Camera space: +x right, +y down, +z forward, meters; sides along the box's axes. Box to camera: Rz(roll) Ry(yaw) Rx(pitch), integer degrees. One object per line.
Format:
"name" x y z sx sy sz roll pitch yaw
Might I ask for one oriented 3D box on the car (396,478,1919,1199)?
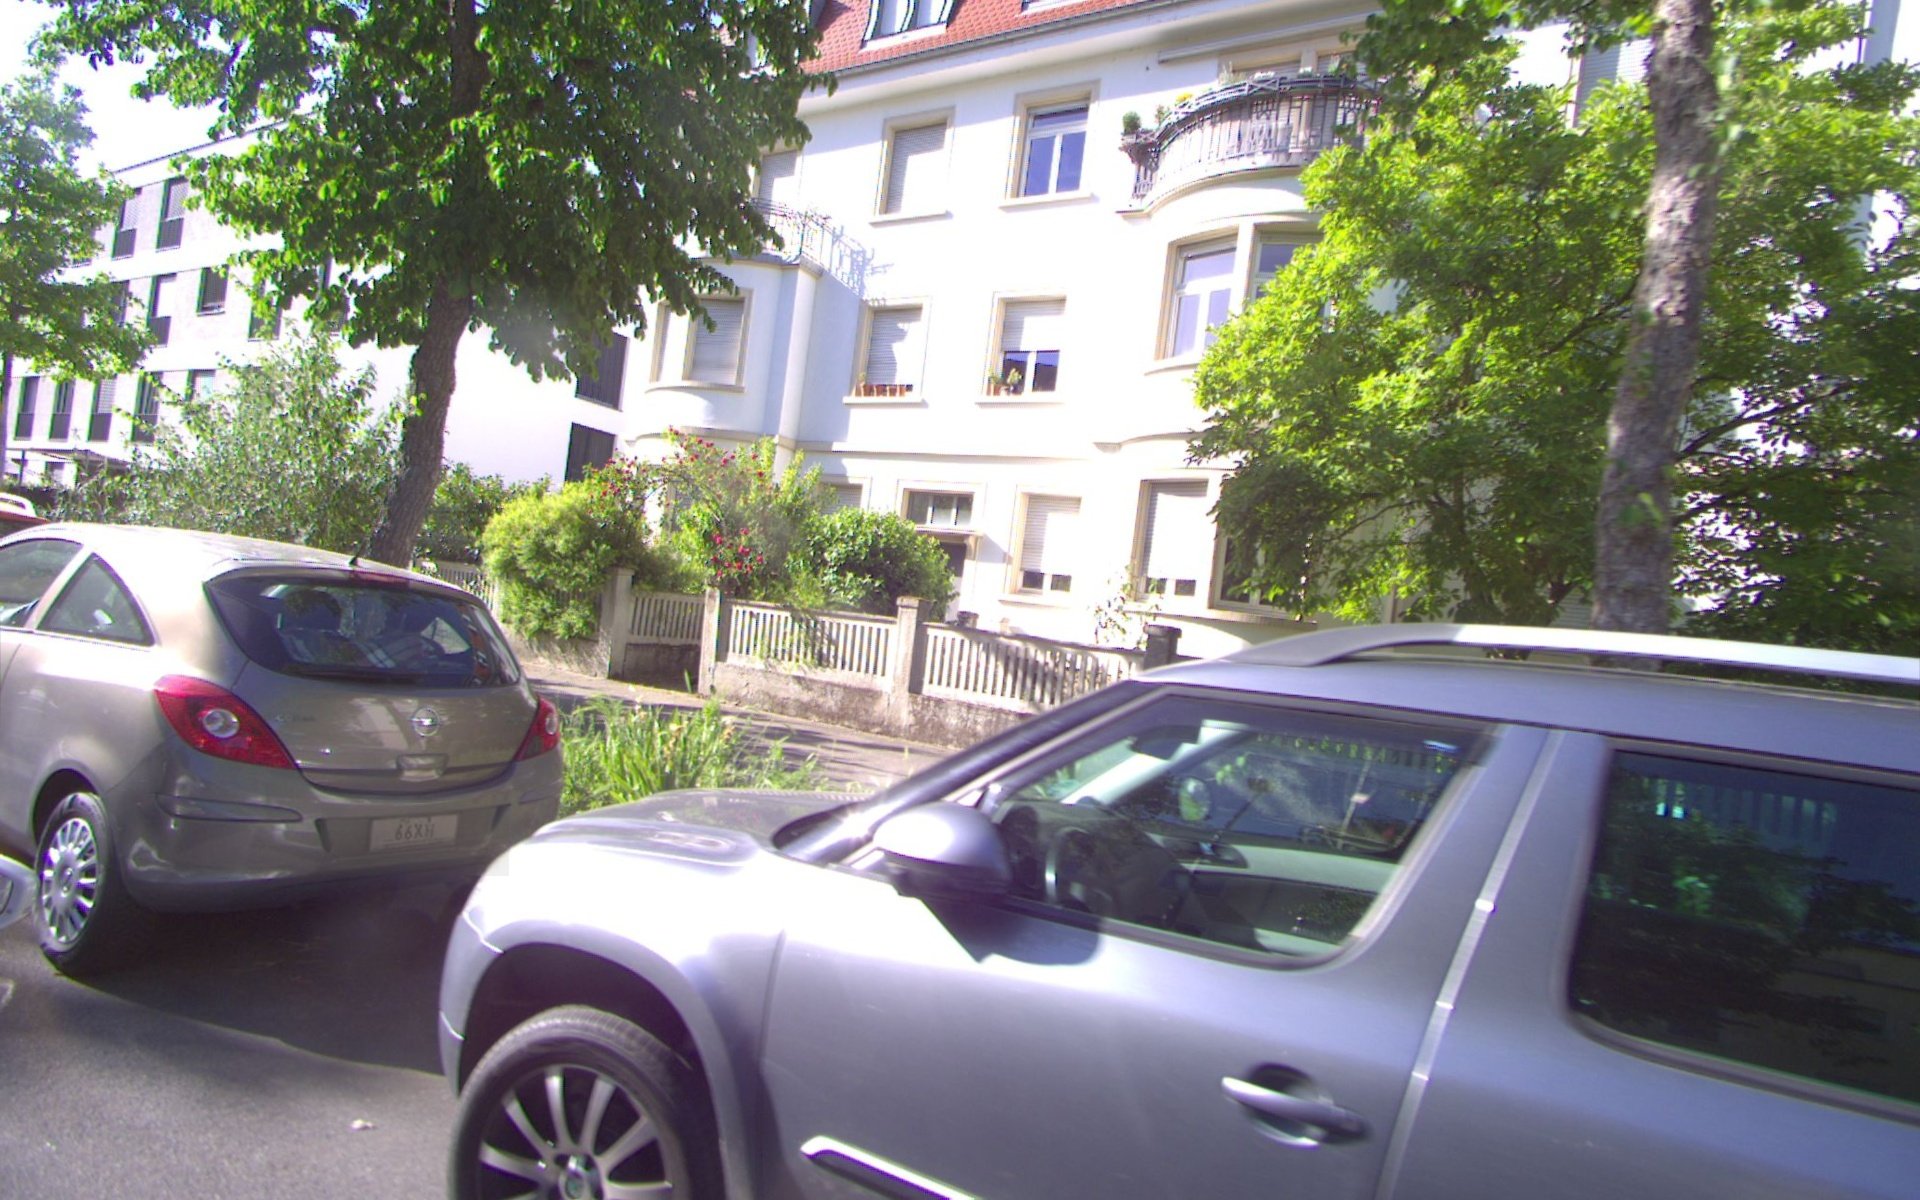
"car" 0.885 0.832 2.046 3.780 1.675 1.653 7 -1 28

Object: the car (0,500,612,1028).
"car" -3.507 0.387 4.476 3.551 1.446 1.652 7 0 29

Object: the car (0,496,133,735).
"car" -7.730 -0.120 7.062 4.031 1.472 1.639 7 -1 31

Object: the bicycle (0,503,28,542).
"bicycle" -28.740 -2.359 30.188 1.662 1.068 0.547 7 0 29

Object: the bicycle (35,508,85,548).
"bicycle" -28.078 -2.248 31.380 1.749 1.068 0.547 7 0 29
